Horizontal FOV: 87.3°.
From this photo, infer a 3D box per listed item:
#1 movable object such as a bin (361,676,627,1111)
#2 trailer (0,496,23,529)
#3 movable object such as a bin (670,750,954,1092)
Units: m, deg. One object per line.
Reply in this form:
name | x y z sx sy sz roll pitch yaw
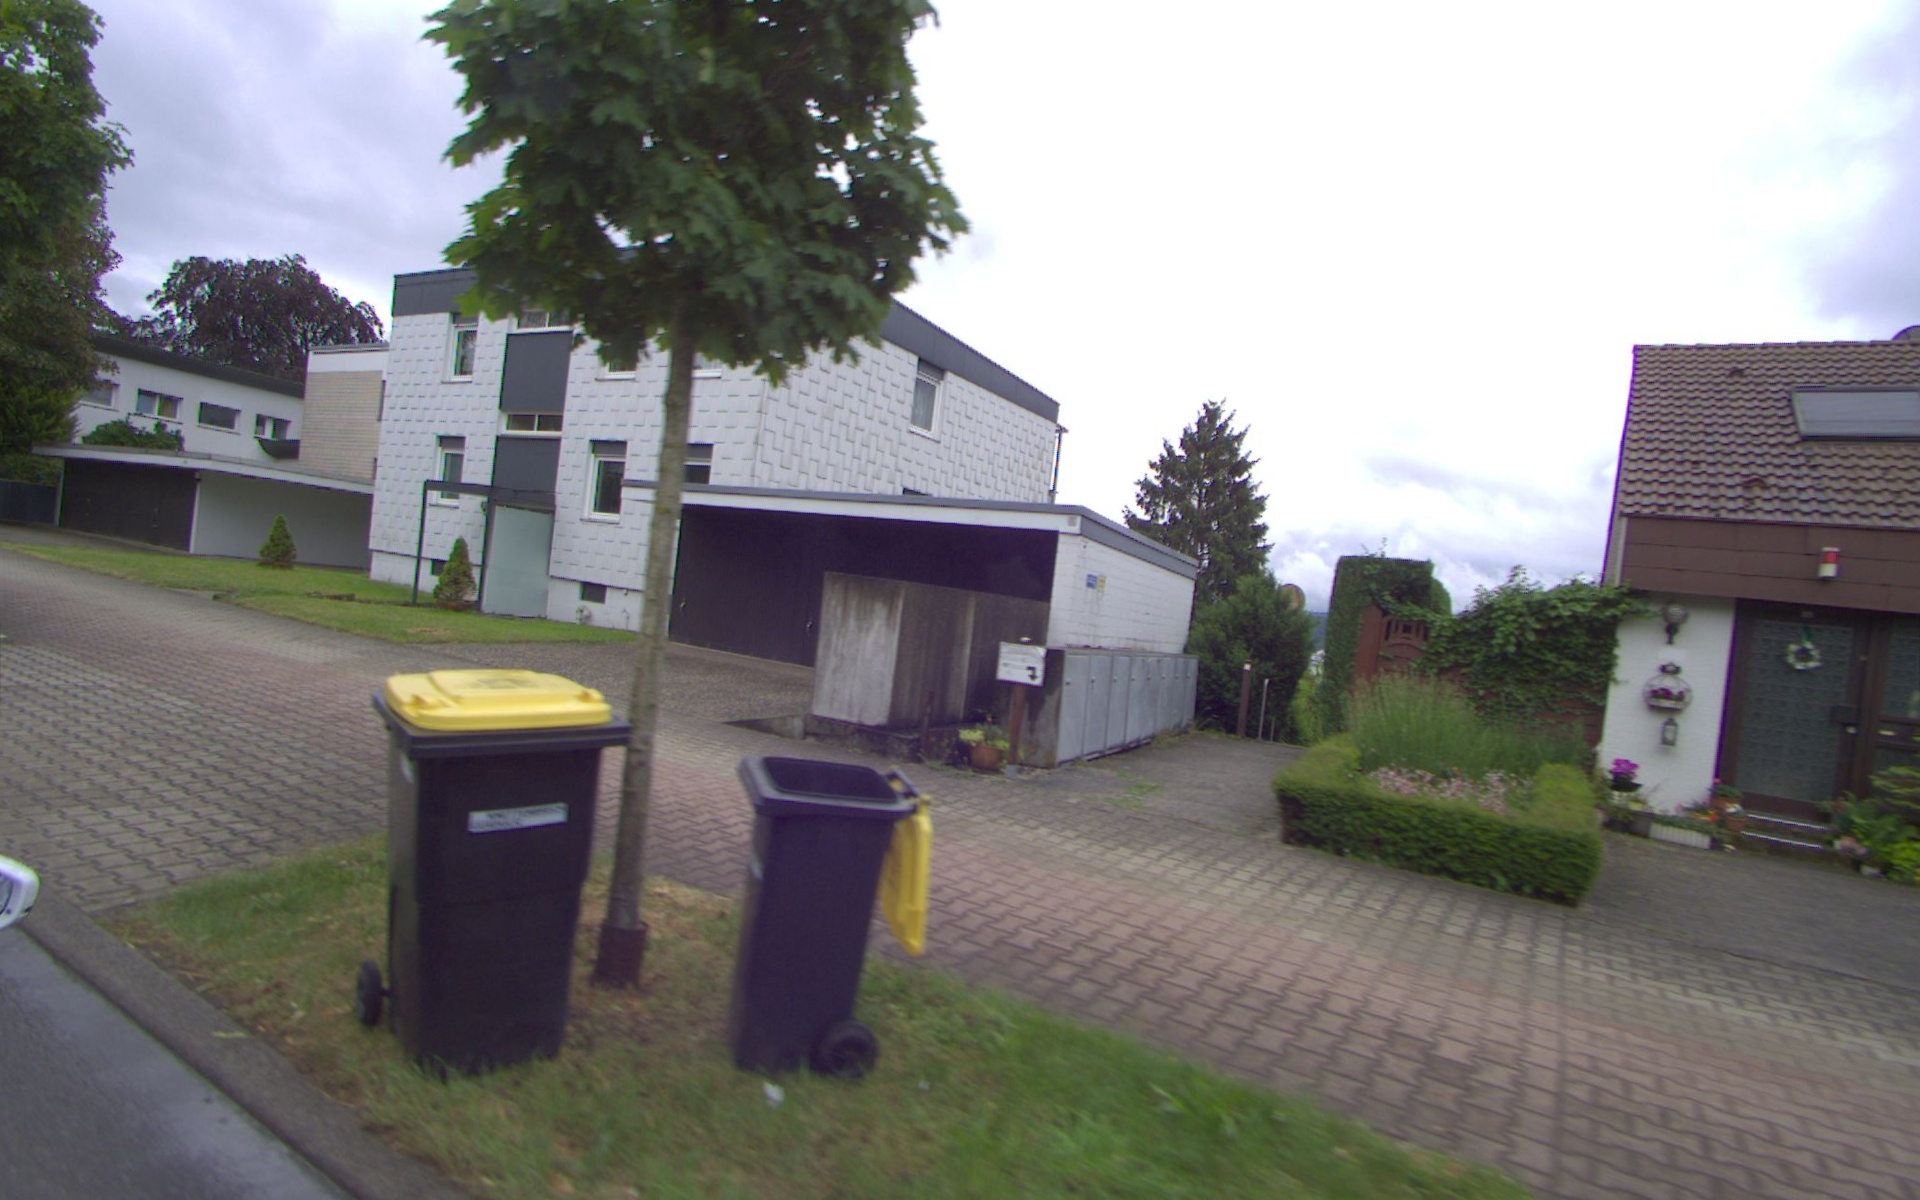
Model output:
movable object such as a bin | -1.362 0.770 2.912 0.609 1.029 0.557 1 4 -33
trailer | -29.511 -2.766 29.965 1.343 0.893 2.044 7 -2 35
movable object such as a bin | -0.479 0.939 3.163 0.654 0.811 0.595 3 3 -33
